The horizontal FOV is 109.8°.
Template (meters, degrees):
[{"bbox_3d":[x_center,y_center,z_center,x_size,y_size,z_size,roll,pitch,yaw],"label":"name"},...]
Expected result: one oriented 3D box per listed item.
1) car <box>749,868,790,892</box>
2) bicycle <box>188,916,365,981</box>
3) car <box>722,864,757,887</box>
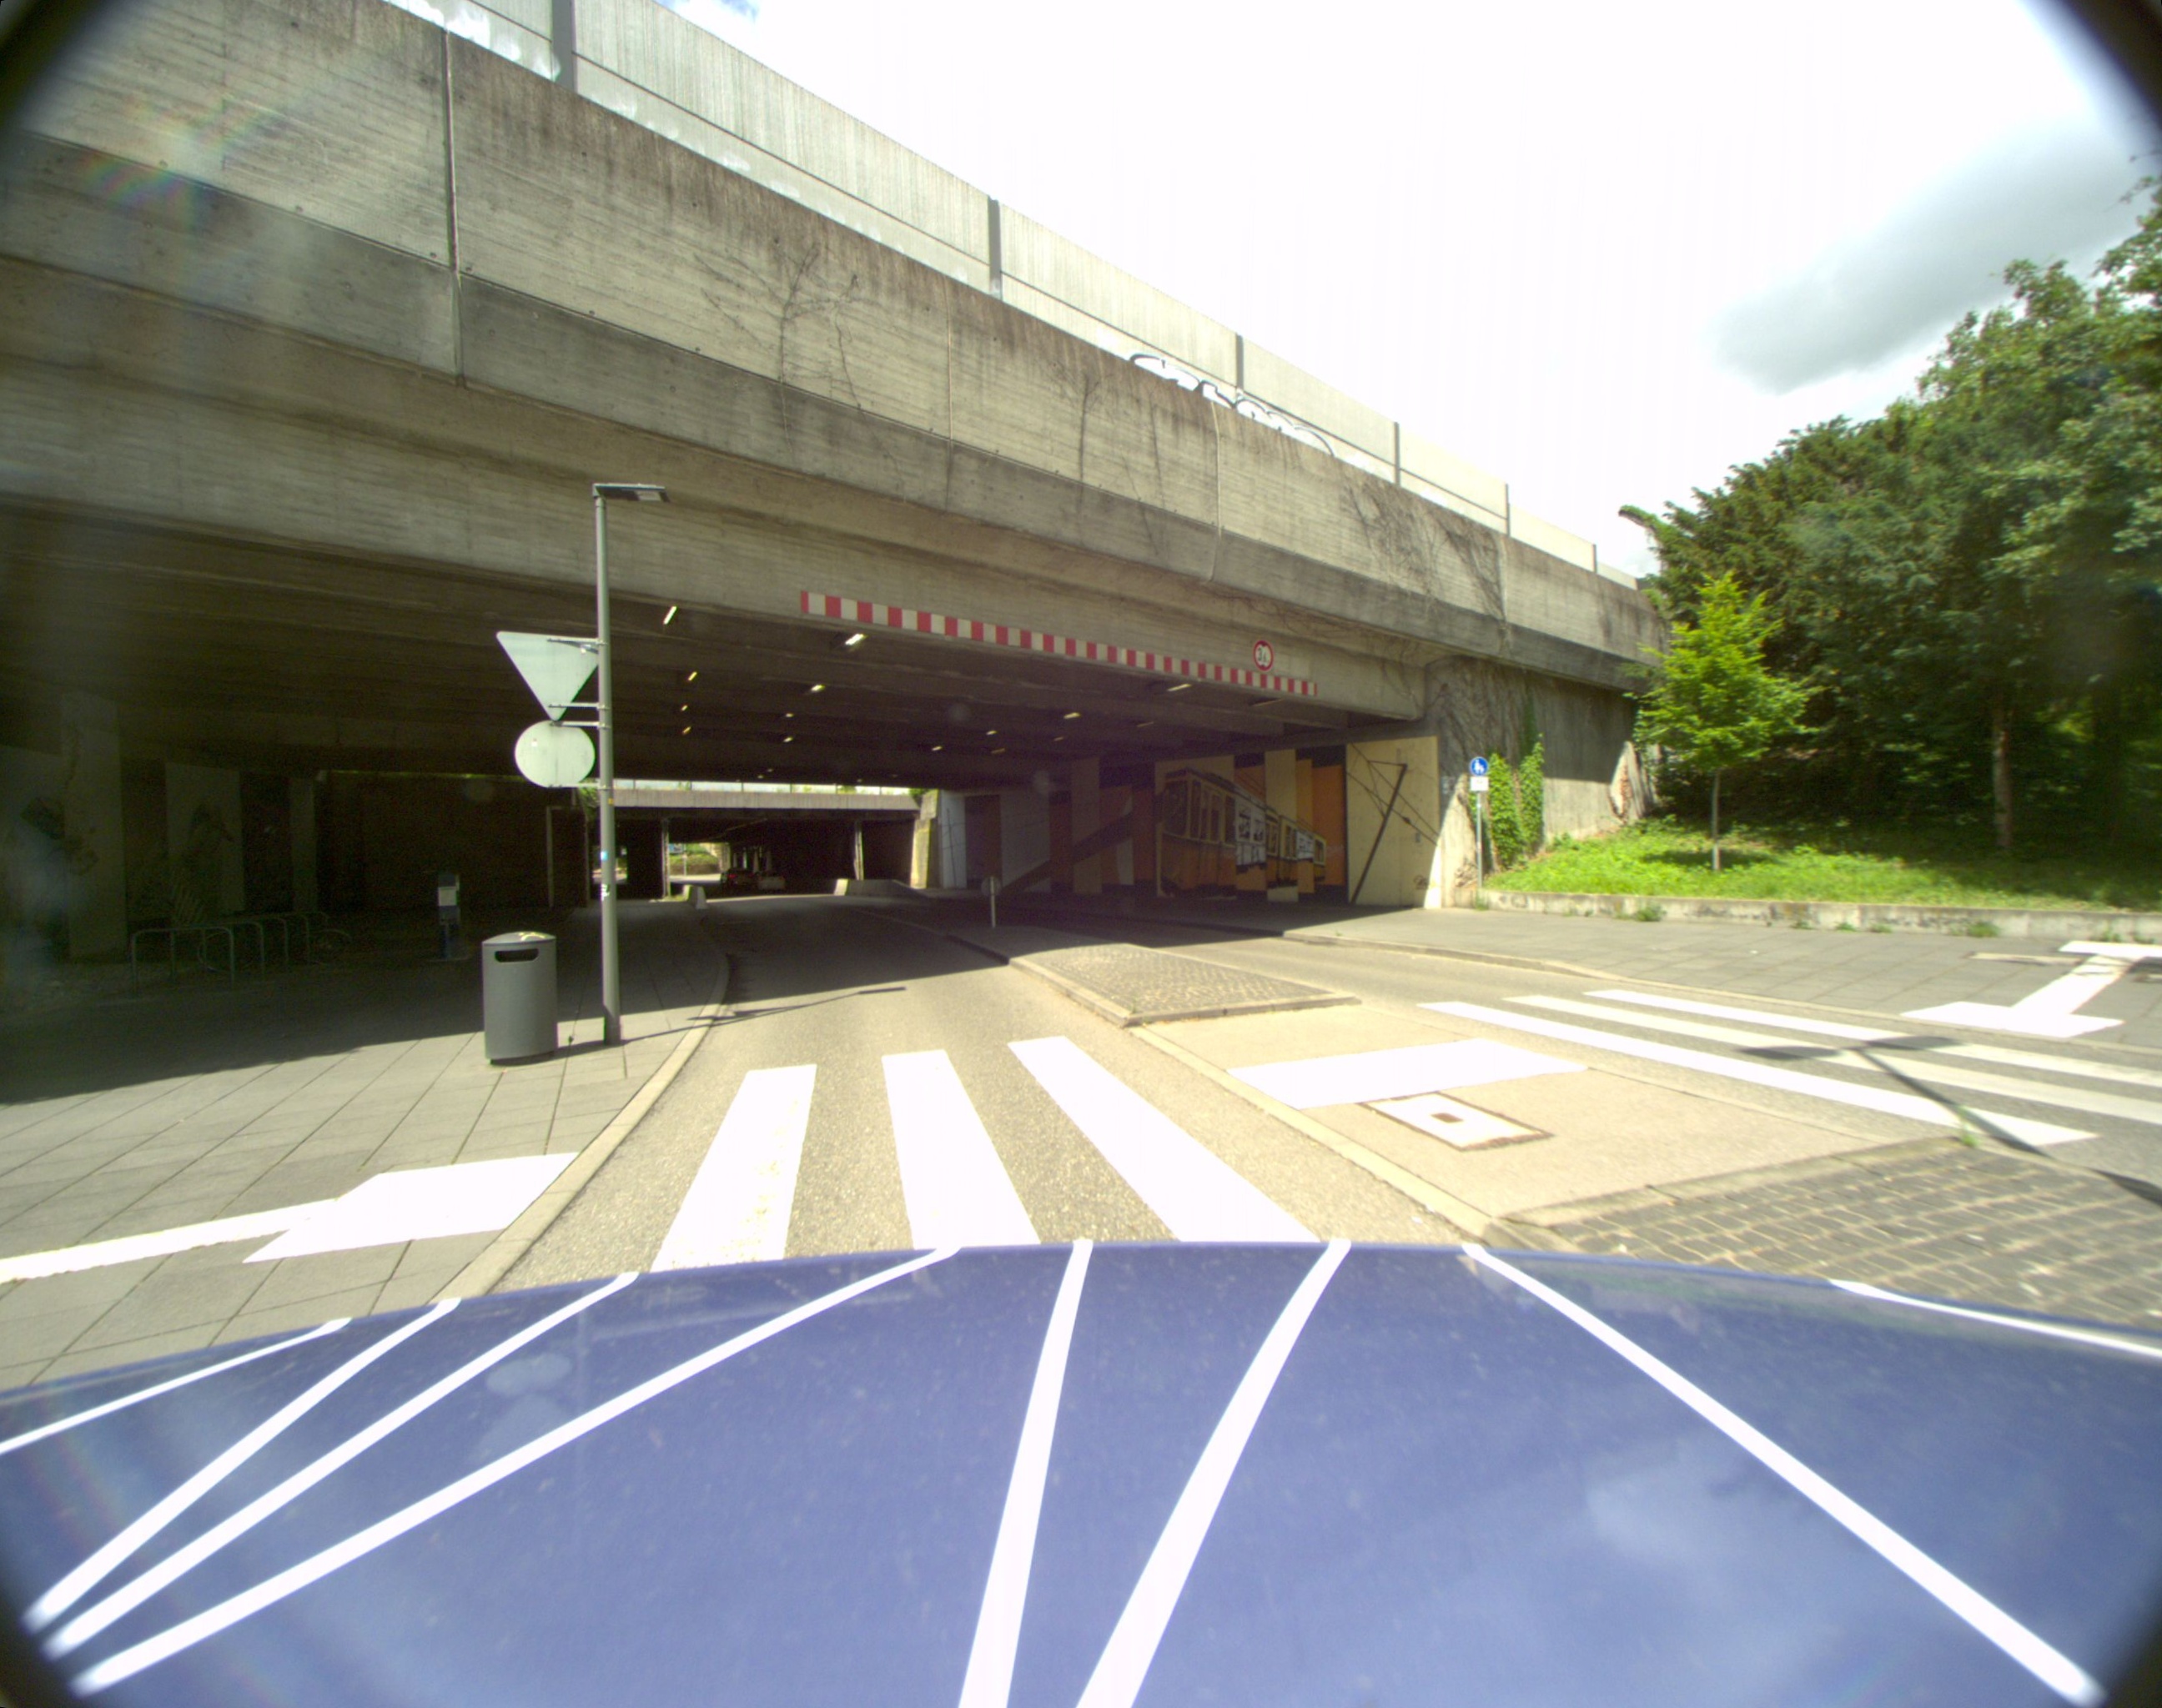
[{"bbox_3d":[-19.950,1.625,48.556,1.680,1.439,3.843,-1,0,-34],"label":"car"},{"bbox_3d":[-13.385,1.550,12.718,1.955,0.899,0.505,-1,1,-33],"label":"bicycle"},{"bbox_3d":[-26.060,1.613,57.979,1.834,1.644,4.203,-1,0,-33],"label":"car"}]
